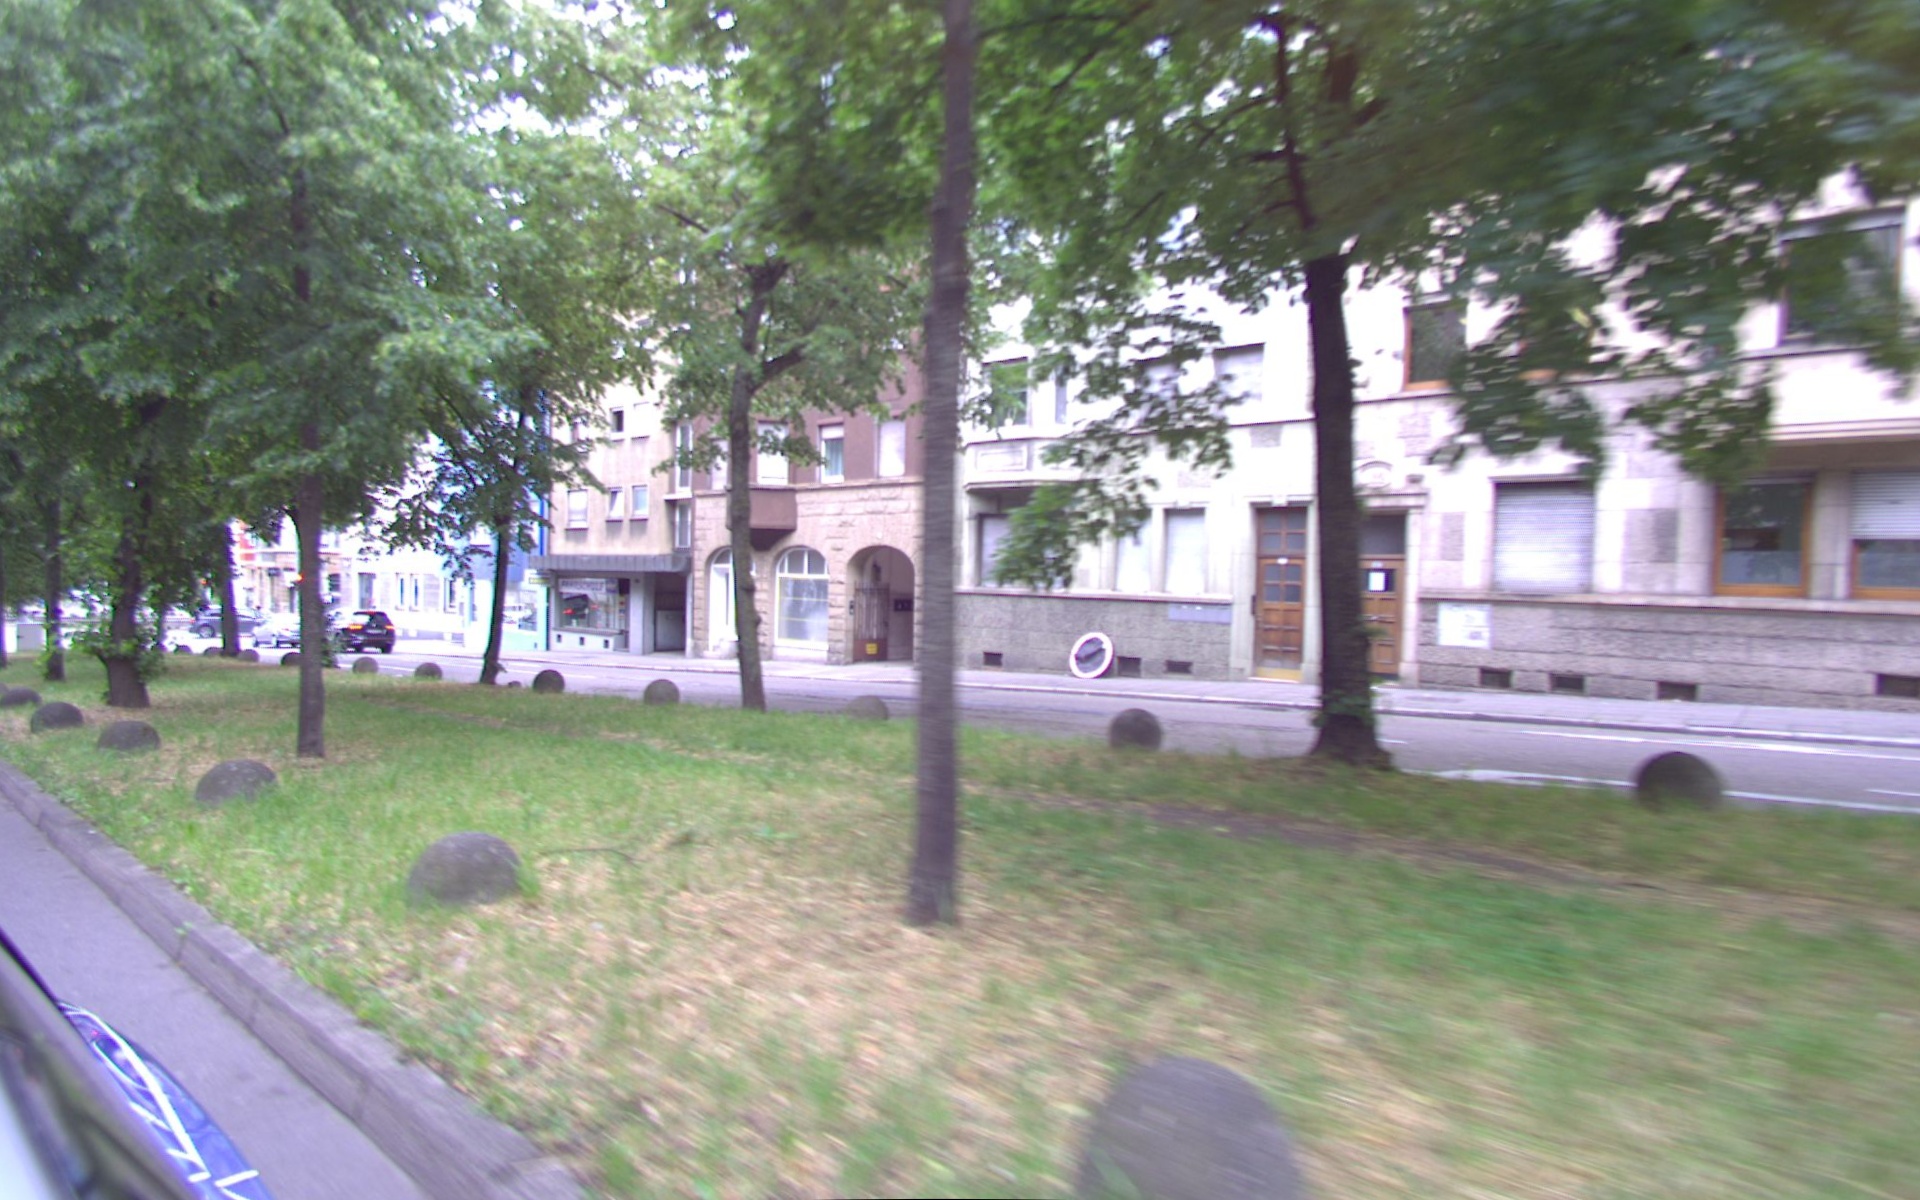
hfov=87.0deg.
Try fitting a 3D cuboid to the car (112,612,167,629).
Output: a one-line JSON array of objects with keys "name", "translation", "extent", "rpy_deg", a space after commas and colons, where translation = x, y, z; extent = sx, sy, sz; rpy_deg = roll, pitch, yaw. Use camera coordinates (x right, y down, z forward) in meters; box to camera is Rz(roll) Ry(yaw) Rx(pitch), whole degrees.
[{"name": "car", "translation": [-82.193, 2.012, 101.393], "extent": [3.868, 1.610, 1.898], "rpy_deg": [0, 1, -12]}]

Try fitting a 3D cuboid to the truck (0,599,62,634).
[{"name": "truck", "translation": [-75.153, 1.313, 79.749], "extent": [2.739, 2.744, 6.443], "rpy_deg": [-1, -1, 6]}]

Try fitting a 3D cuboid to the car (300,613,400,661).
[{"name": "car", "translation": [-23.228, 1.367, 38.478], "extent": [4.675, 1.649, 1.797], "rpy_deg": [0, -2, 40]}]

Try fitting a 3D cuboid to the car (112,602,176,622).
[{"name": "car", "translation": [-69.455, 1.028, 86.214], "extent": [3.874, 1.610, 1.895], "rpy_deg": [0, 1, -4]}]

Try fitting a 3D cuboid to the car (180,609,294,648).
[{"name": "car", "translation": [-38.395, 1.484, 53.884], "extent": [4.648, 1.626, 1.865], "rpy_deg": [-4, 2, -27]}]

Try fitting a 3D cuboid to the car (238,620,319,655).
[{"name": "car", "translation": [-29.206, 1.598, 43.349], "extent": [4.289, 1.417, 1.653], "rpy_deg": [-1, -2, 38]}]
